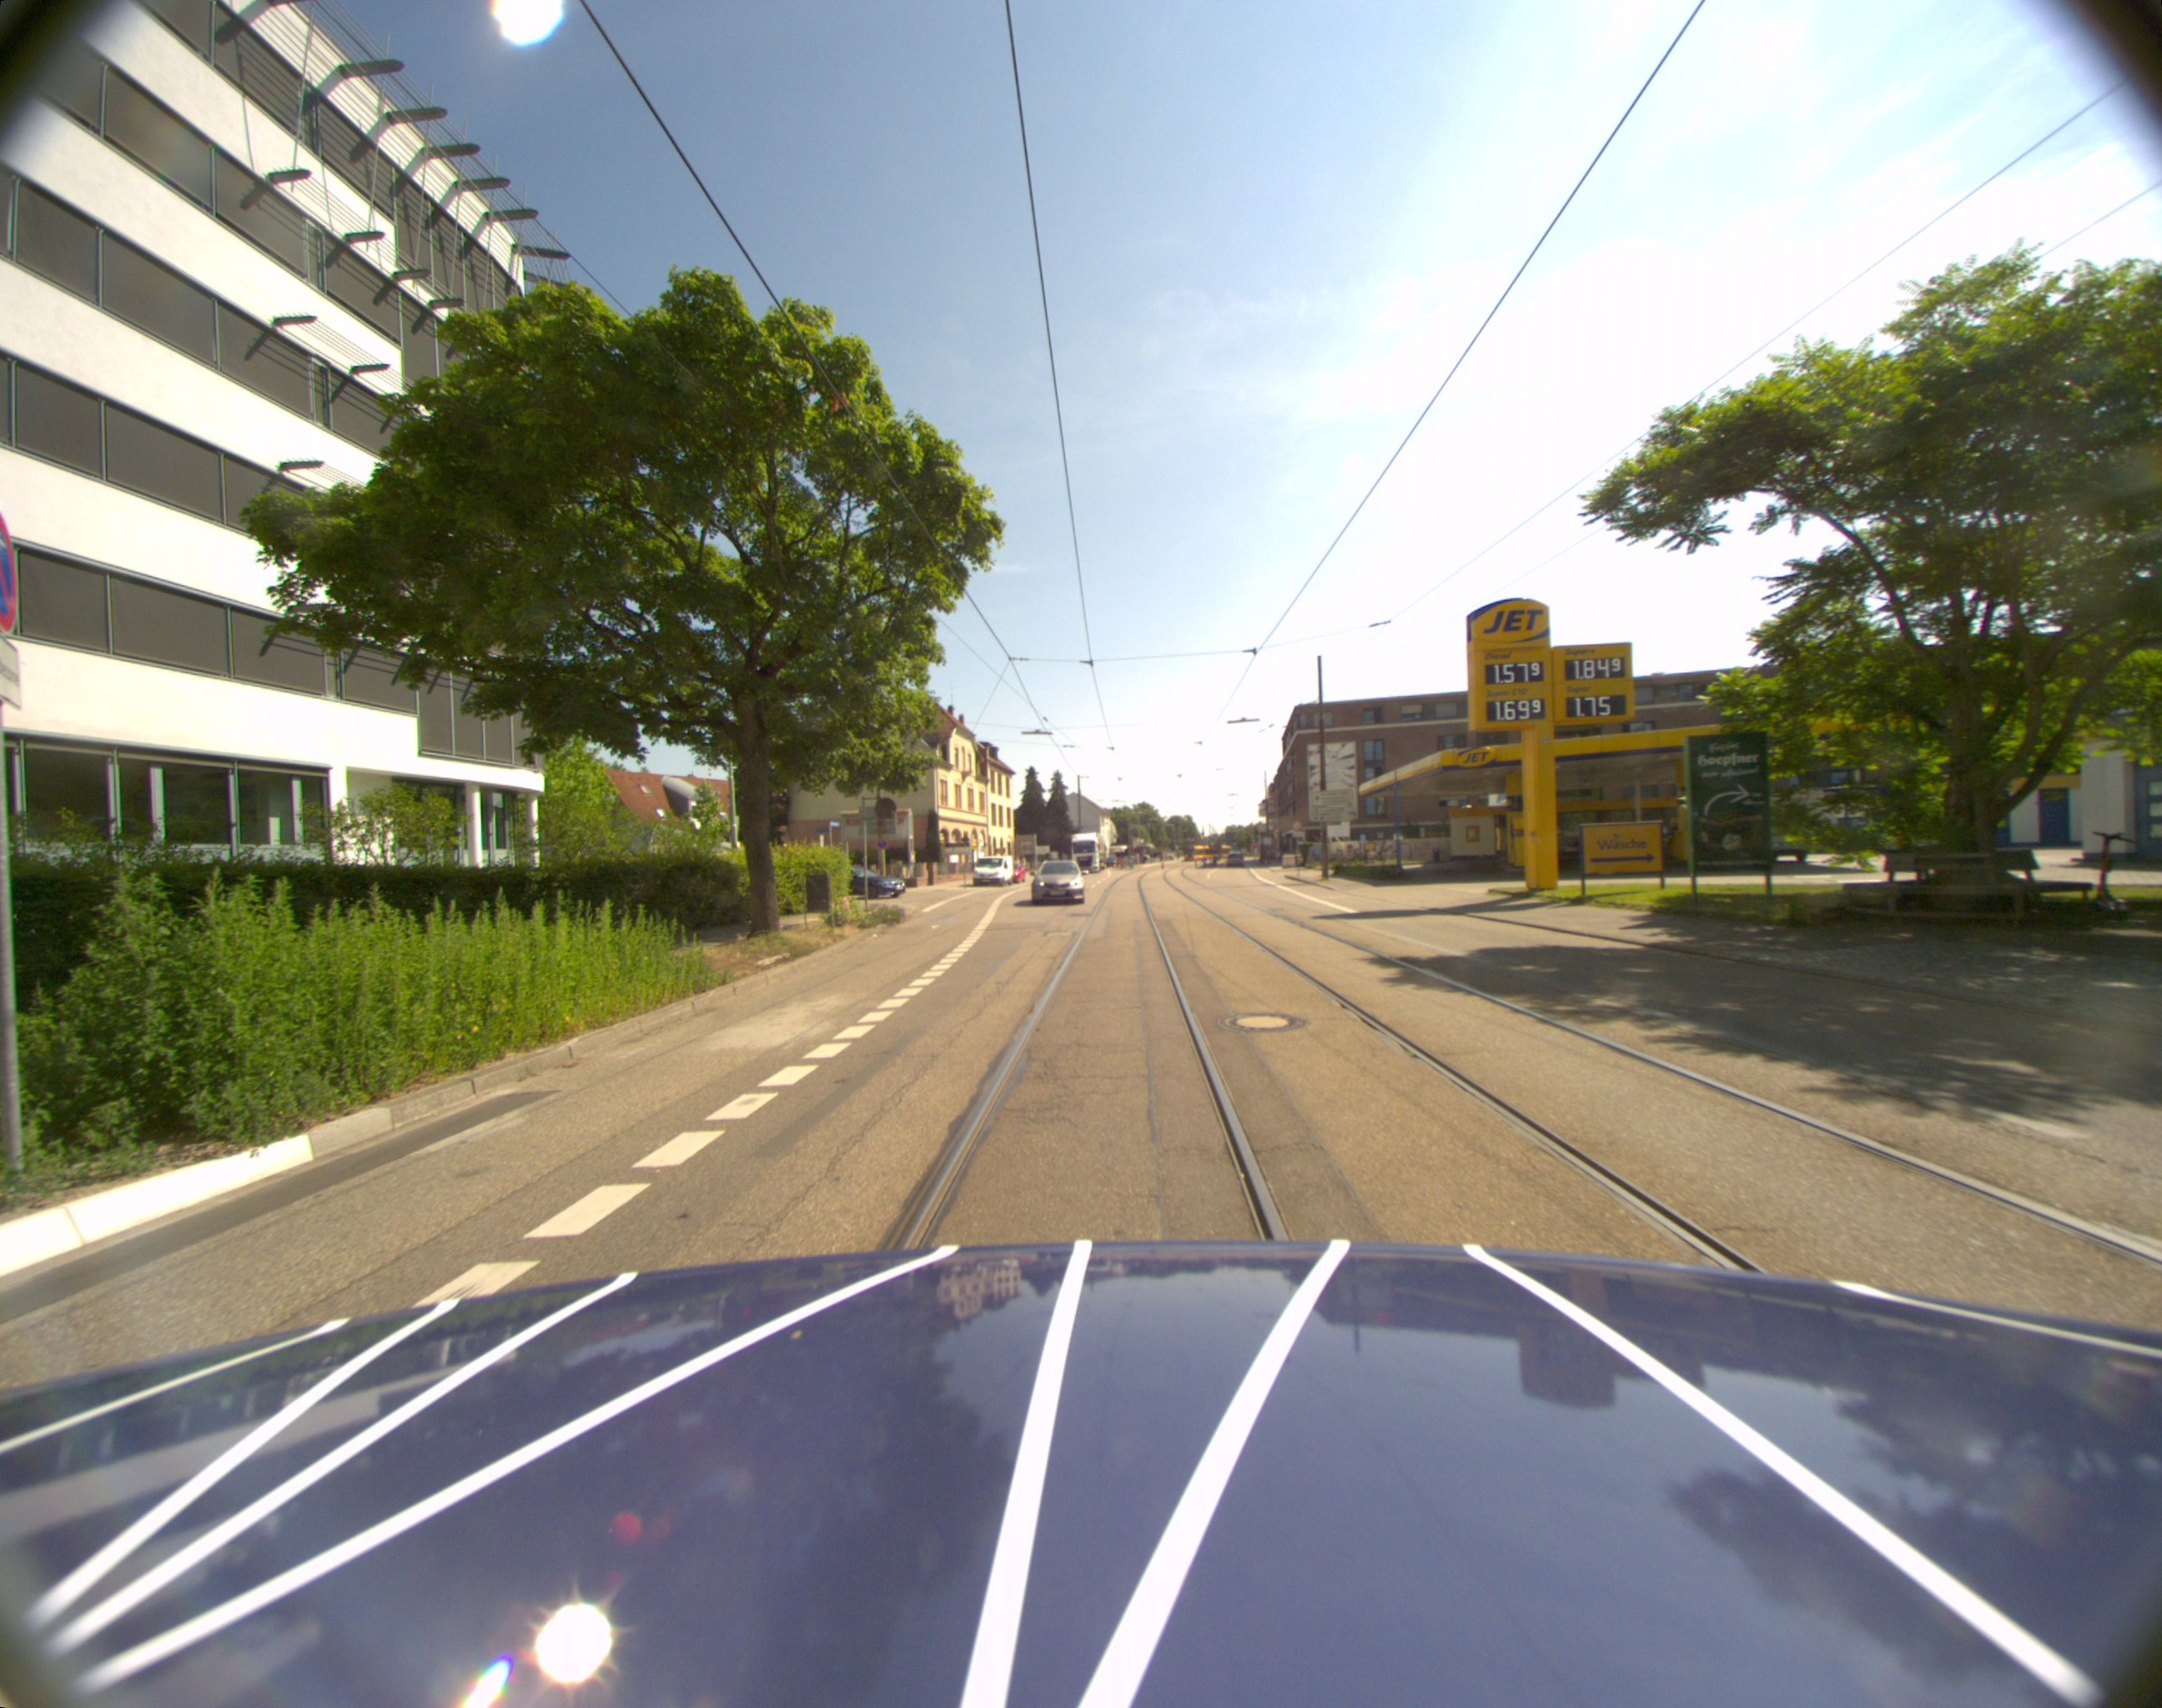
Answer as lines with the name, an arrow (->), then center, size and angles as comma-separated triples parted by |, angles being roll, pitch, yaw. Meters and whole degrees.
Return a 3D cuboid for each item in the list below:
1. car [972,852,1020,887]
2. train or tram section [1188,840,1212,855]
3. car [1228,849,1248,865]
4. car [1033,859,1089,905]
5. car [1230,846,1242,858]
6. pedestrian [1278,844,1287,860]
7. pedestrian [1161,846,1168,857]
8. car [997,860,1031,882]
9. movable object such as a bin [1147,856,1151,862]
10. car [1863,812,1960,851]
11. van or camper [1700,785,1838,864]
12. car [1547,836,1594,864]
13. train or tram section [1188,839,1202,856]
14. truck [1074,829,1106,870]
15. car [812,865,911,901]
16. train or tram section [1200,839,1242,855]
car -> -5.350, 0.916, 48.502 | 1.980, 2.043, 5.192 | 0, 1, 5
train or tram section -> 28.273, -1.537, 179.911 | 2.682, 3.460, 13.358 | -2, 0, 22
car -> 16.361, 0.294, 79.300 | 1.749, 1.562, 3.893 | -1, 1, 9
car -> -0.630, 0.919, 26.545 | 1.695, 1.440, 4.481 | 0, 0, 2
car -> 24.673, -0.332, 121.056 | 1.804, 1.718, 4.192 | -4, -1, 12
pedestrian -> 23.996, -0.222, 90.459 | 0.846, 1.808, 0.839 | -2, 0, 12
pedestrian -> 14.481, -0.369, 131.401 | 0.982, 1.847, 1.239 | -2, 0, 12
car -> -4.762, 1.212, 54.689 | 1.725, 1.435, 4.313 | 0, 0, 4
movable object such as a bin -> 10.223, 0.750, 113.944 | 0.630, 0.895, 0.489 | -1, 0, 10
car -> 41.364, -1.164, 37.988 | 1.775, 1.752, 4.480 | -4, 1, 27
van or camper -> 30.195, -1.283, 33.692 | 2.610, 2.950, 6.723 | -5, 0, 26
car -> 25.448, -0.235, 39.605 | 1.698, 1.295, 4.397 | -4, 0, 29
train or tram section -> 25.051, -1.434, 167.511 | 2.685, 3.460, 13.346 | -2, 0, 8
truck -> 0.986, -0.437, 76.185 | 2.656, 3.772, 7.865 | -2, 0, 4
car -> -9.504, 1.254, 33.065 | 3.753, 1.380, 1.672 | -2, 0, 4
train or tram section -> 35.103, -1.793, 190.086 | 13.364, 3.460, 2.681 | -2, 0, -42
